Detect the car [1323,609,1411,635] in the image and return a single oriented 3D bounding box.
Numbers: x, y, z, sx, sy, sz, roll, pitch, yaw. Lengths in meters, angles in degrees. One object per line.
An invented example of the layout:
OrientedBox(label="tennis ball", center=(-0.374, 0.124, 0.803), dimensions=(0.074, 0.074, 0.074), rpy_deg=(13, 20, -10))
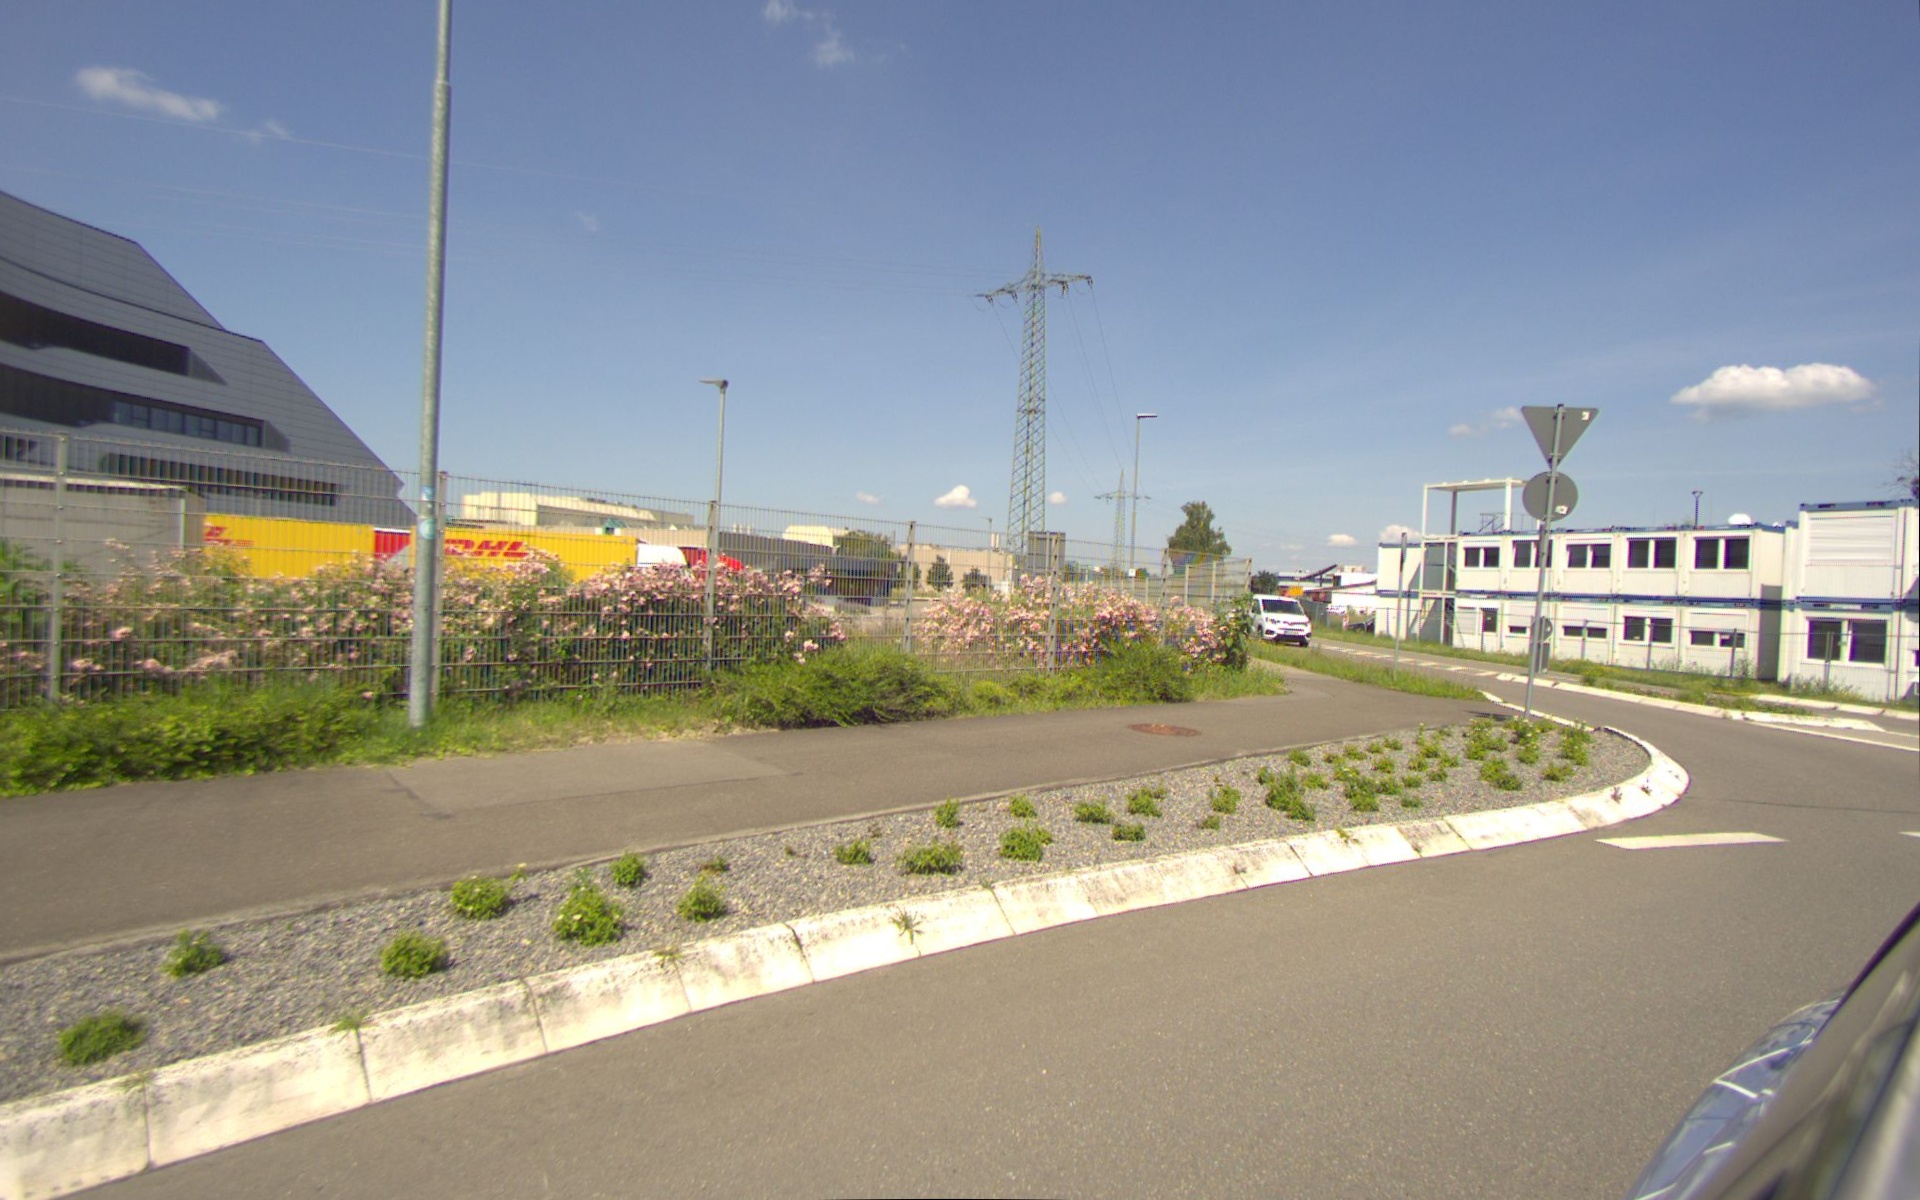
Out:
OrientedBox(label="car", center=(26.535, 1.403, 66.050), dimensions=(4.884, 1.435, 2.003), rpy_deg=(3, 0, -6))

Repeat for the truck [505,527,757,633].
OrientedBox(label="truck", center=(-15.380, -0.863, 47.820), dimensions=(10.753, 4.308, 3.033), rpy_deg=(3, 1, -30))

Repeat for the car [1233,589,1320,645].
OrientedBox(label="car", center=(11.844, 0.572, 38.209), dimensions=(1.804, 1.828, 4.827), rpy_deg=(4, 1, 2))

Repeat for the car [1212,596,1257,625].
OrientedBox(label="car", center=(16.549, 0.662, 61.189), dimensions=(1.743, 1.447, 4.045), rpy_deg=(3, -4, 3))

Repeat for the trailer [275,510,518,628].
OrientedBox(label="trailer", center=(-23.683, -1.240, 42.987), dimensions=(8.539, 4.348, 3.034), rpy_deg=(3, 1, -30))

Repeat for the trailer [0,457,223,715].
OrientedBox(label="trailer", center=(-20.920, -0.482, 16.702), dimensions=(13.781, 4.492, 2.770), rpy_deg=(3, 1, -31))

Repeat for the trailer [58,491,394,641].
OrientedBox(label="trailer", center=(-23.928, -0.992, 33.652), dimensions=(8.545, 4.348, 2.904), rpy_deg=(3, 1, -34))

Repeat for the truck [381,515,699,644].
OrientedBox(label="truck", center=(-15.805, -0.675, 38.678), dimensions=(10.752, 4.224, 2.827), rpy_deg=(3, 1, -30))
